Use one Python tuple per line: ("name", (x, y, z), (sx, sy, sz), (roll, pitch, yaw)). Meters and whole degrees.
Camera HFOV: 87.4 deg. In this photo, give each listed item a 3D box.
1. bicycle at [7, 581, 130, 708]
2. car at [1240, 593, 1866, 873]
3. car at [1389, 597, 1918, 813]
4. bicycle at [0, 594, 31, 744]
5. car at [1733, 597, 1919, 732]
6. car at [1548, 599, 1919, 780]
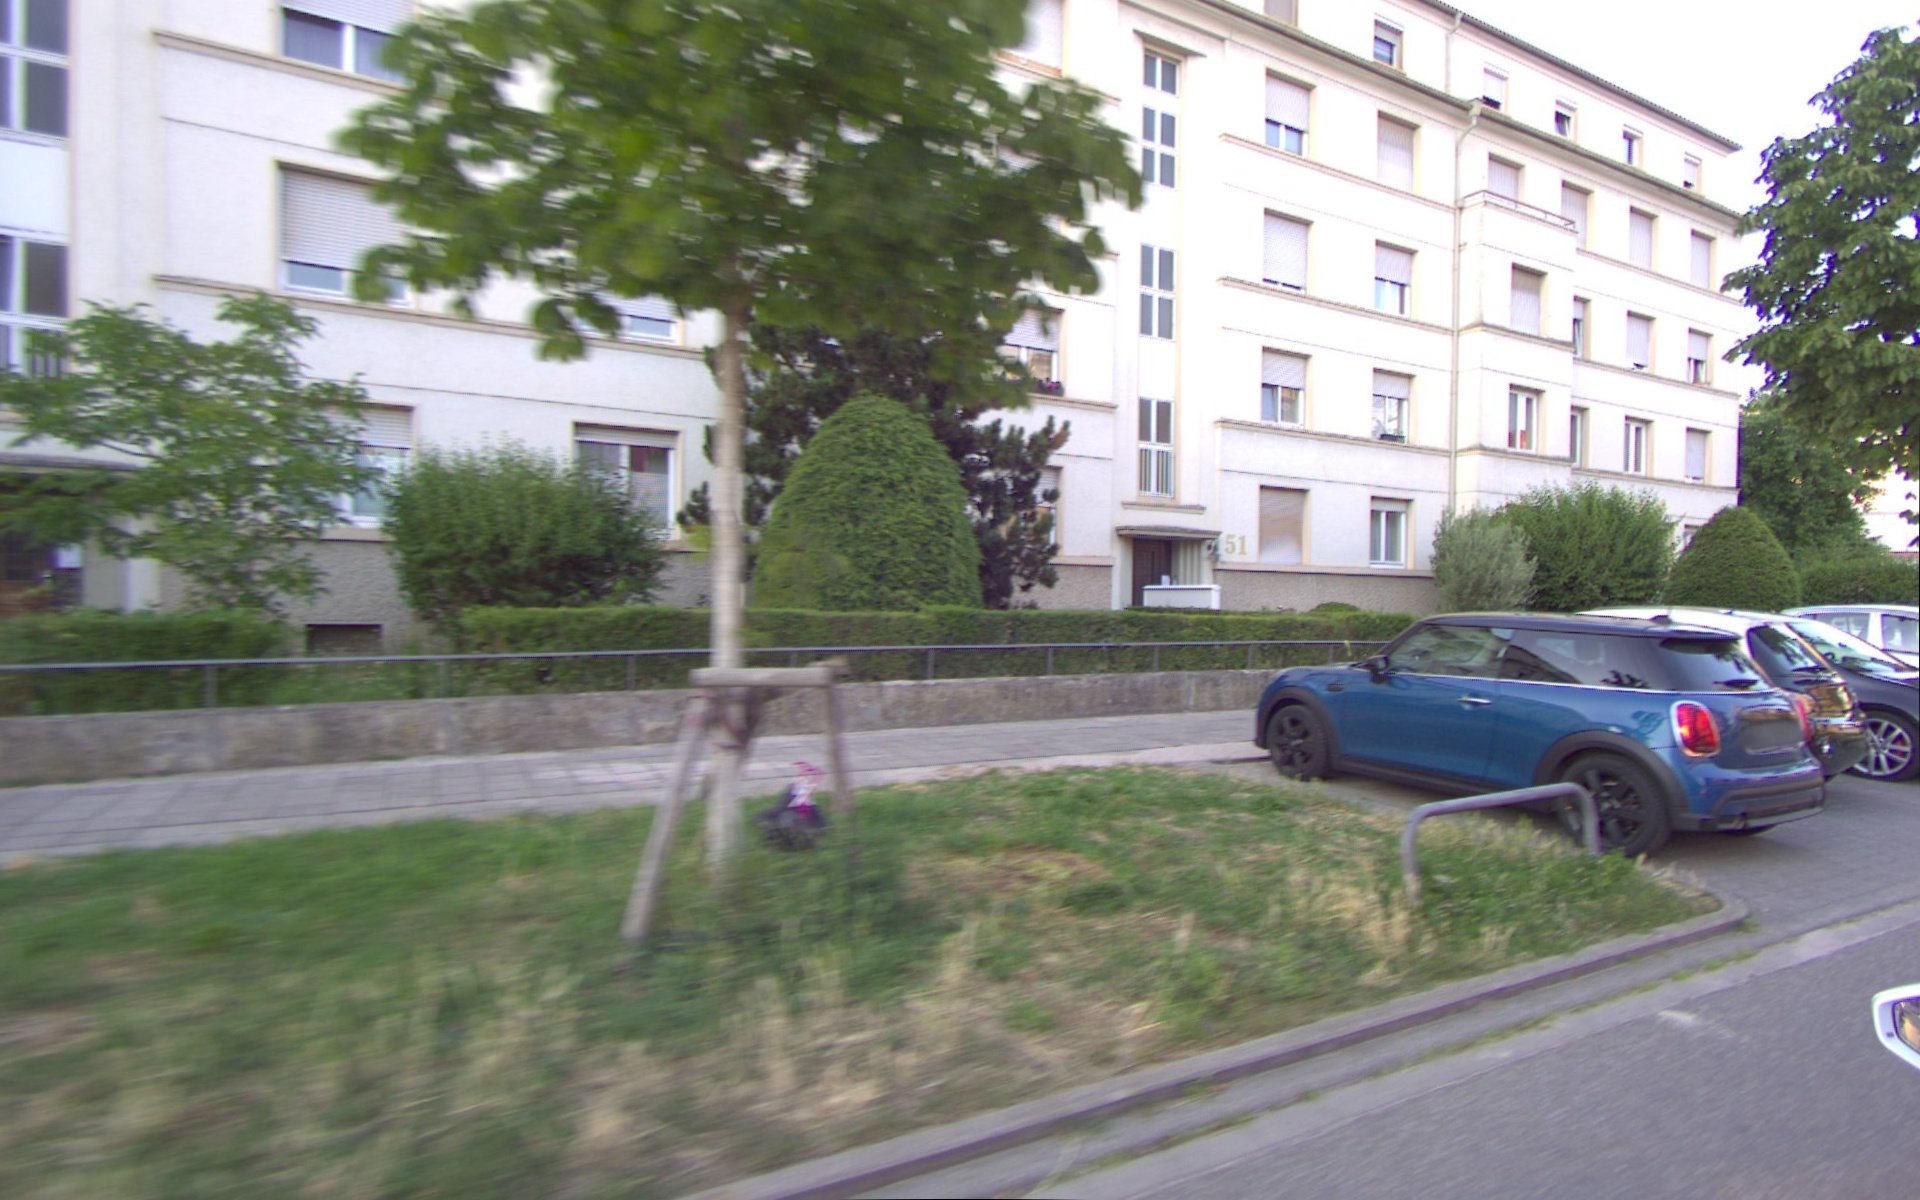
("bicycle", (-9.303, 0.410, 10.548), (0.484, 1.202, 2.020), (0, 1, -28))
("car", (4.031, 0.733, 7.487), (1.706, 1.464, 3.664), (1, 1, -27))
("car", (6.120, 0.780, 9.342), (1.706, 1.504, 3.664), (1, 1, -27))
("bicycle", (-7.839, 0.570, 7.703), (0.533, 1.202, 2.020), (0, 1, -28))
("car", (12.250, 0.815, 12.750), (1.709, 1.587, 3.455), (1, 1, -32))
("car", (8.553, 0.806, 10.387), (1.706, 1.509, 3.963), (1, 1, -26))
